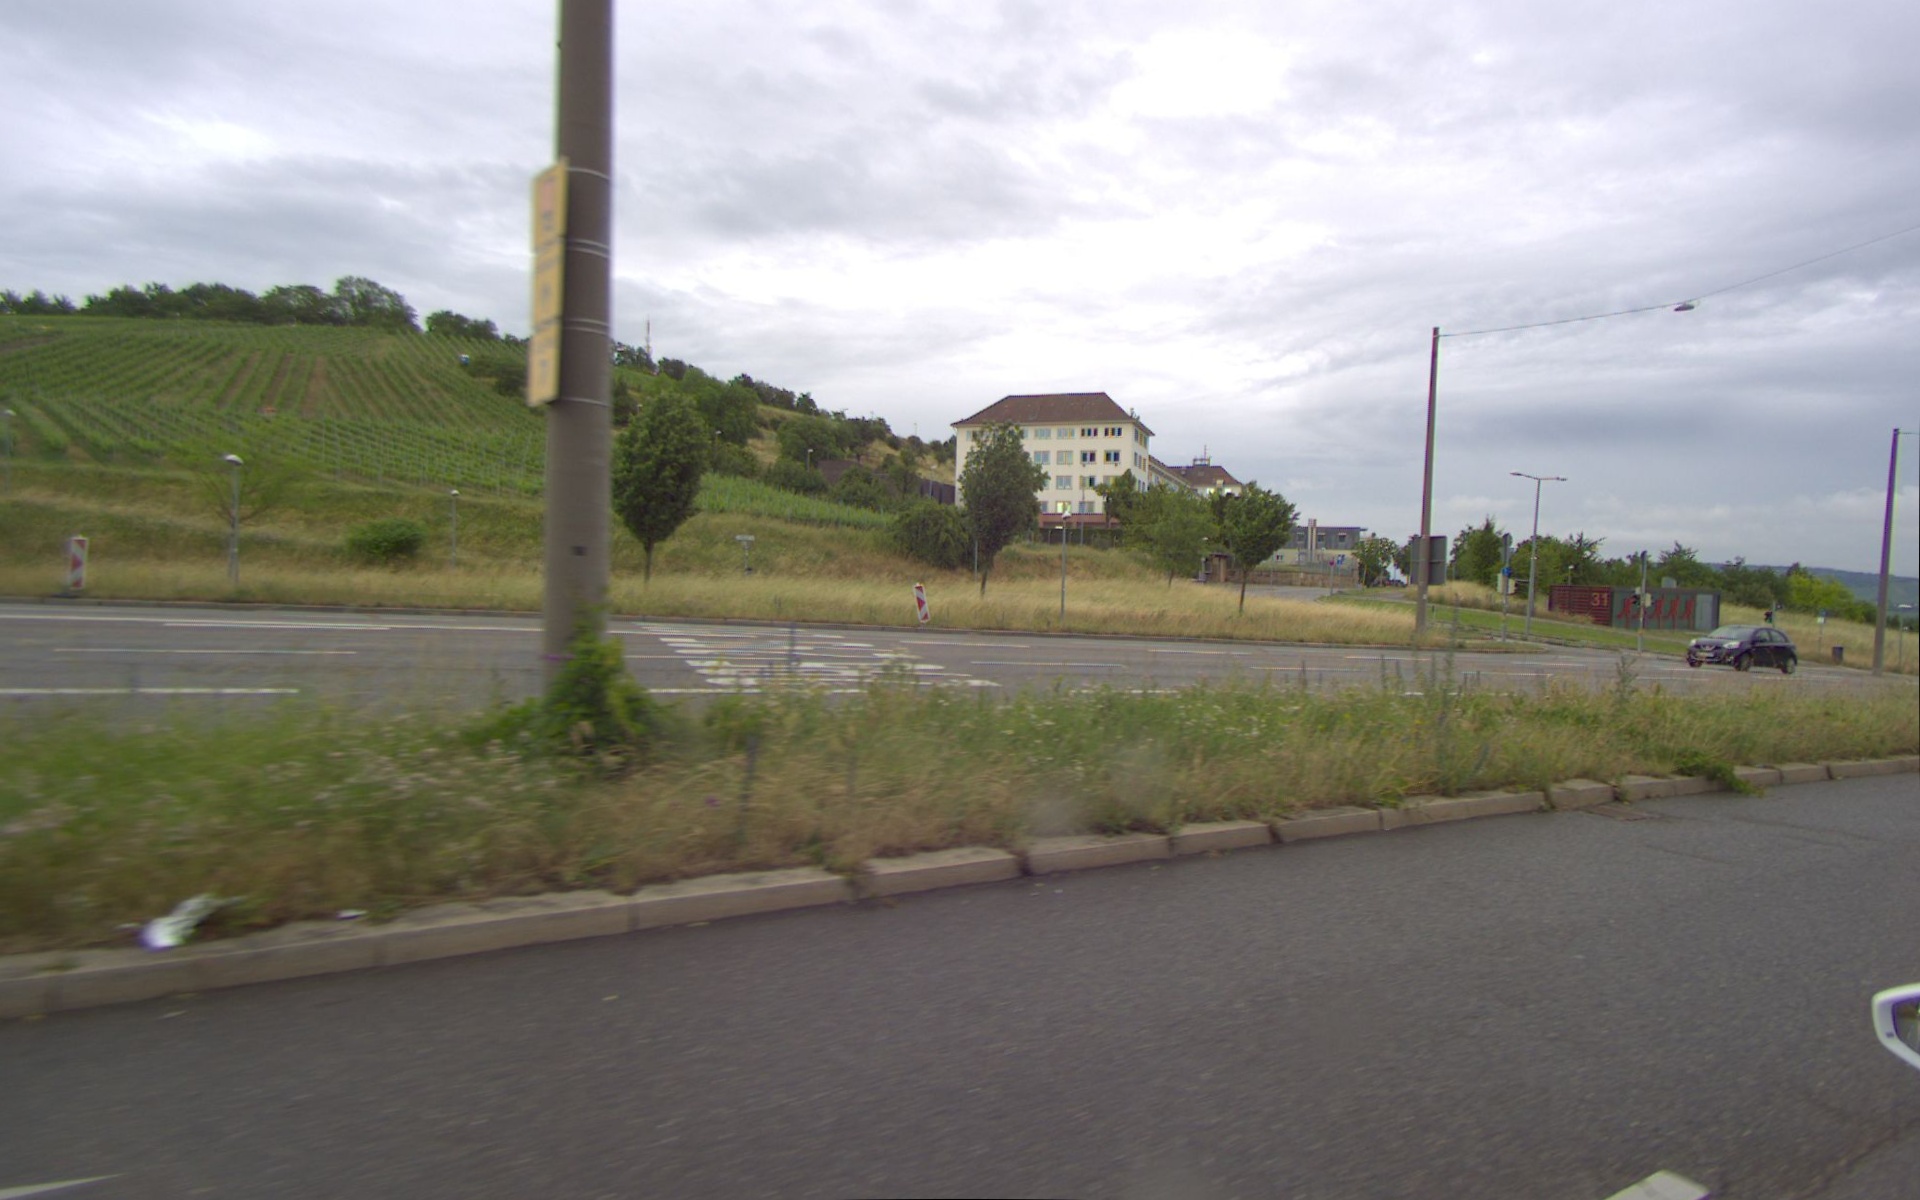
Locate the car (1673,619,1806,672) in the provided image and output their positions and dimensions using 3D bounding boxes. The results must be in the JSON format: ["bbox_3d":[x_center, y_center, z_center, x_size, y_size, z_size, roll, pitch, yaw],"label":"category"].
[{"bbox_3d":[26.025,1.518,33.546,3.945,1.402,1.763,5,0,-23],"label":"car"}]
